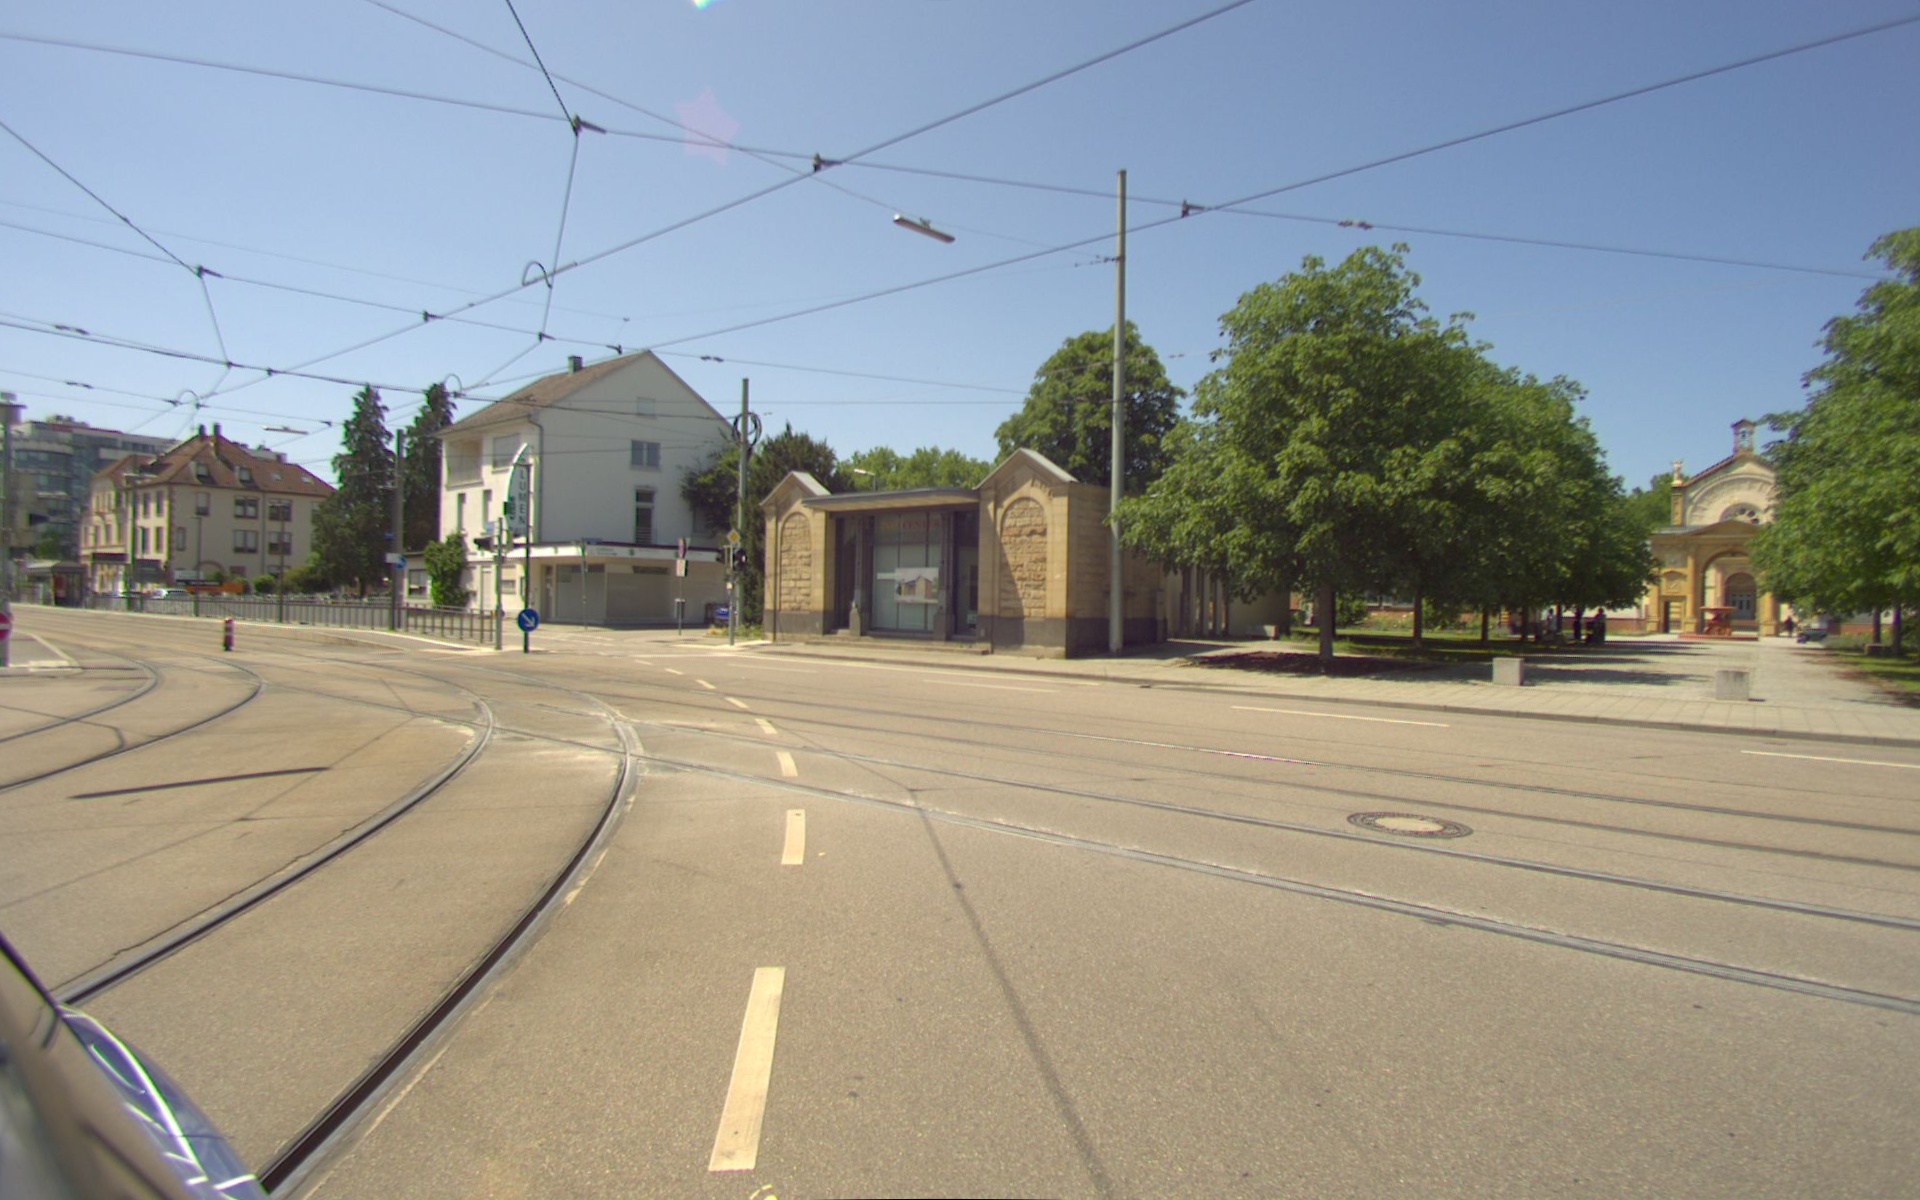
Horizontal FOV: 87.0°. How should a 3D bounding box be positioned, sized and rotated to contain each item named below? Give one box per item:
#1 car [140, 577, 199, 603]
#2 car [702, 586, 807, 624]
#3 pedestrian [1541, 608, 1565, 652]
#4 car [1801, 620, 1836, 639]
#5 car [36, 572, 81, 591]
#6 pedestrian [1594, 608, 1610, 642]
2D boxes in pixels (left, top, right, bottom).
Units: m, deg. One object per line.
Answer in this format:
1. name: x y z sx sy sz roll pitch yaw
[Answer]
1. car: -47.543 -0.610 60.841 4.493 1.501 1.800 1 0 38
2. car: -8.461 0.216 41.848 1.825 1.463 3.901 1 0 44
3. pedestrian: 22.750 1.139 38.852 0.712 1.660 0.521 1 0 40
4. car: 46.845 1.611 55.266 1.329 0.959 2.701 2 0 38
5. car: -73.589 -1.510 82.605 4.469 1.453 1.840 1 0 36
6. pedestrian: 28.499 1.110 44.945 0.531 1.494 0.521 1 0 38
